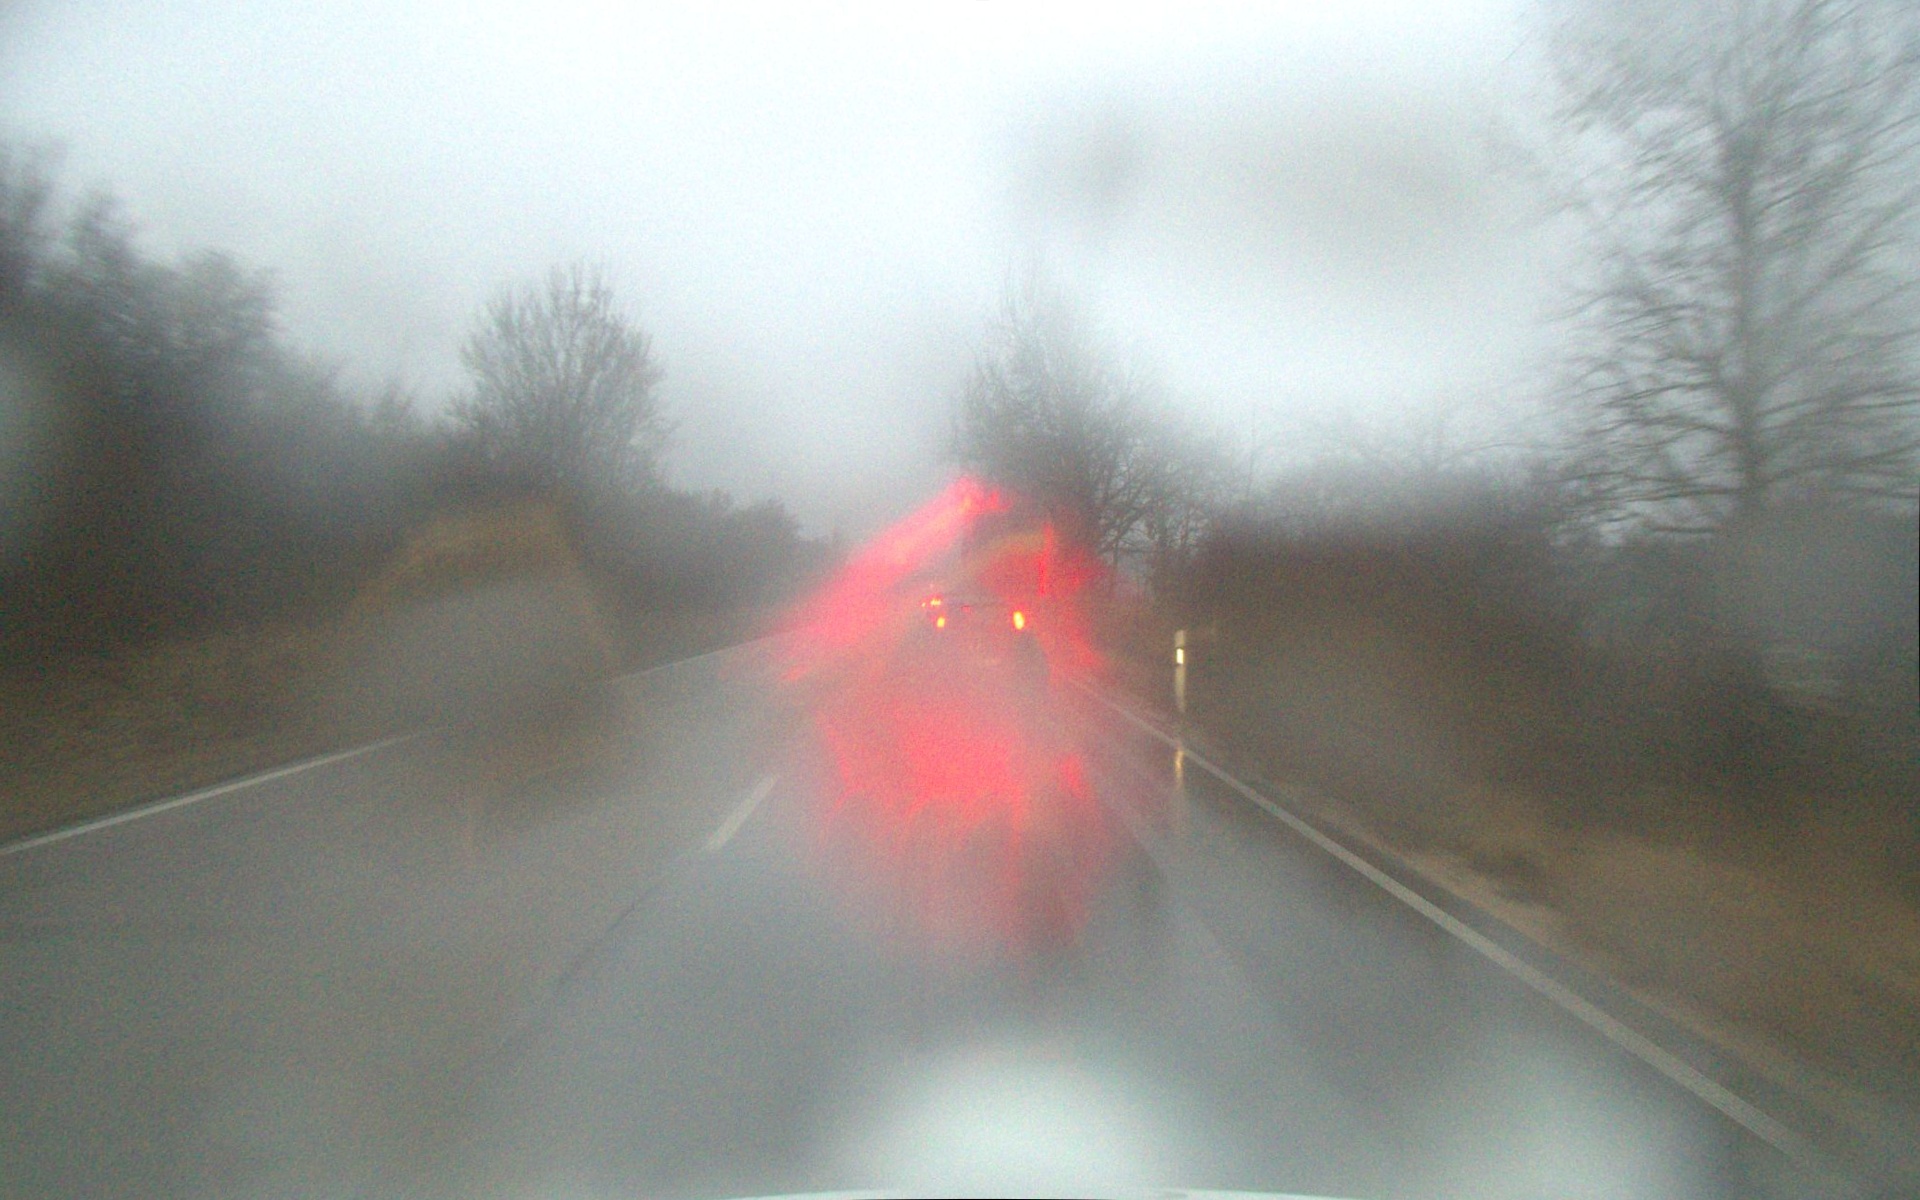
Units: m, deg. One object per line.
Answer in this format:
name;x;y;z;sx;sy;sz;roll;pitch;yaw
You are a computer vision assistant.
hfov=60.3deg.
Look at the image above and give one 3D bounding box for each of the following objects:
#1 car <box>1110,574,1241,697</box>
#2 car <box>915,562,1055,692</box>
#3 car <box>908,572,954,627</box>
car;3.064;0.463;24.009;1.531;1.619;3.489;1;0;2
car;0.381;0.371;25.642;1.952;1.816;4.000;1;0;1
car;-1.022;-0.035;60.413;1.542;1.907;3.709;1;0;1
